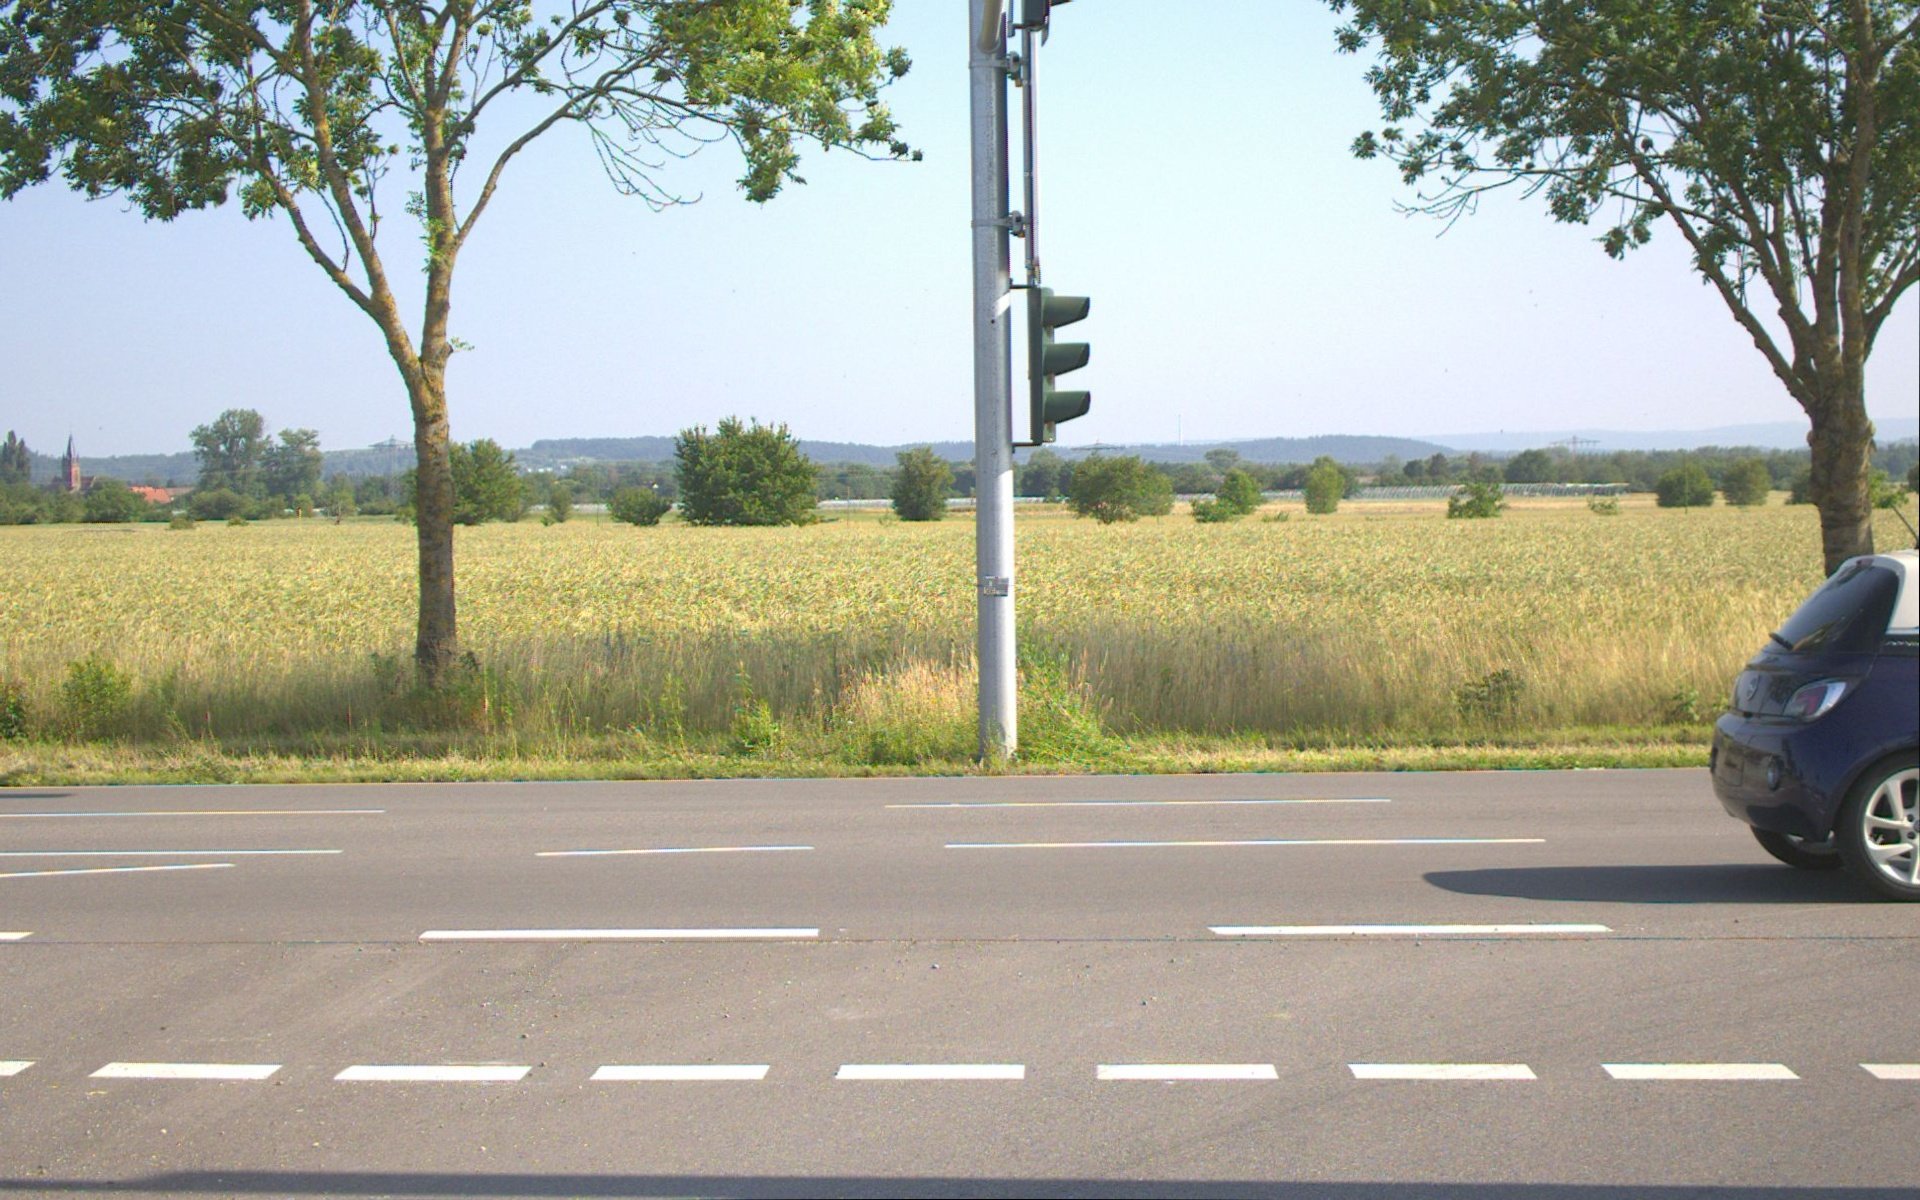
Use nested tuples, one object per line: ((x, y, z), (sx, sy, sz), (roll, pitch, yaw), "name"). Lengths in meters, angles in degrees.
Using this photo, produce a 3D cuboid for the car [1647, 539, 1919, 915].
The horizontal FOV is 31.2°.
((4.996, 0.464, 14.675), (3.727, 1.452, 1.729), (-1, 2, -1), "car")
